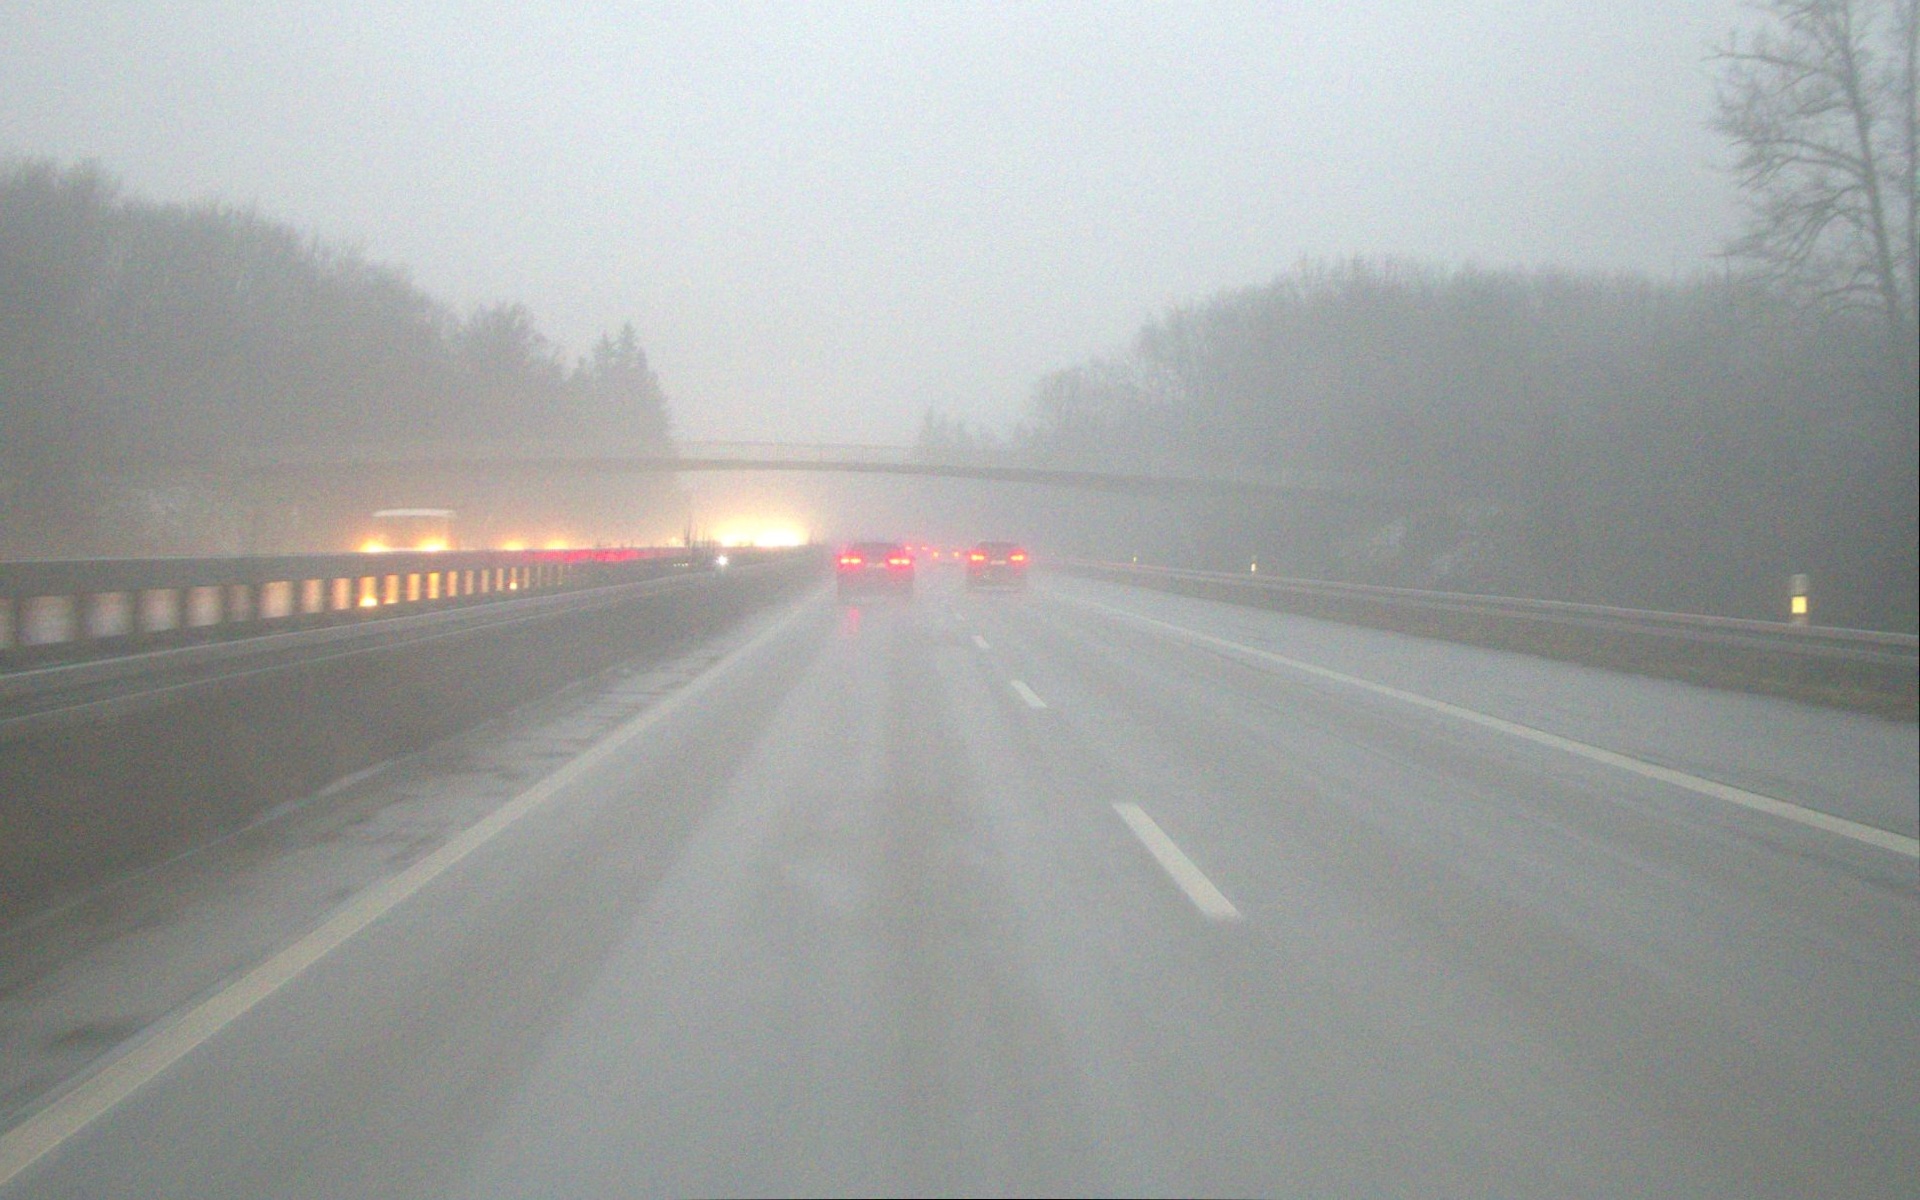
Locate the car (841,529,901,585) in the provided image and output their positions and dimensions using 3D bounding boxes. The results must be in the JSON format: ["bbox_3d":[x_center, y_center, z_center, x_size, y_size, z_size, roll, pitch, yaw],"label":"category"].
[{"bbox_3d":[-2.203,-1.070,85.564,1.454,1.339,3.490,1,1,-1],"label":"car"}]

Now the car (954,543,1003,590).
[{"bbox_3d":[0.581,-1.079,109.410,1.454,1.424,3.490,1,1,-1],"label":"car"}]
